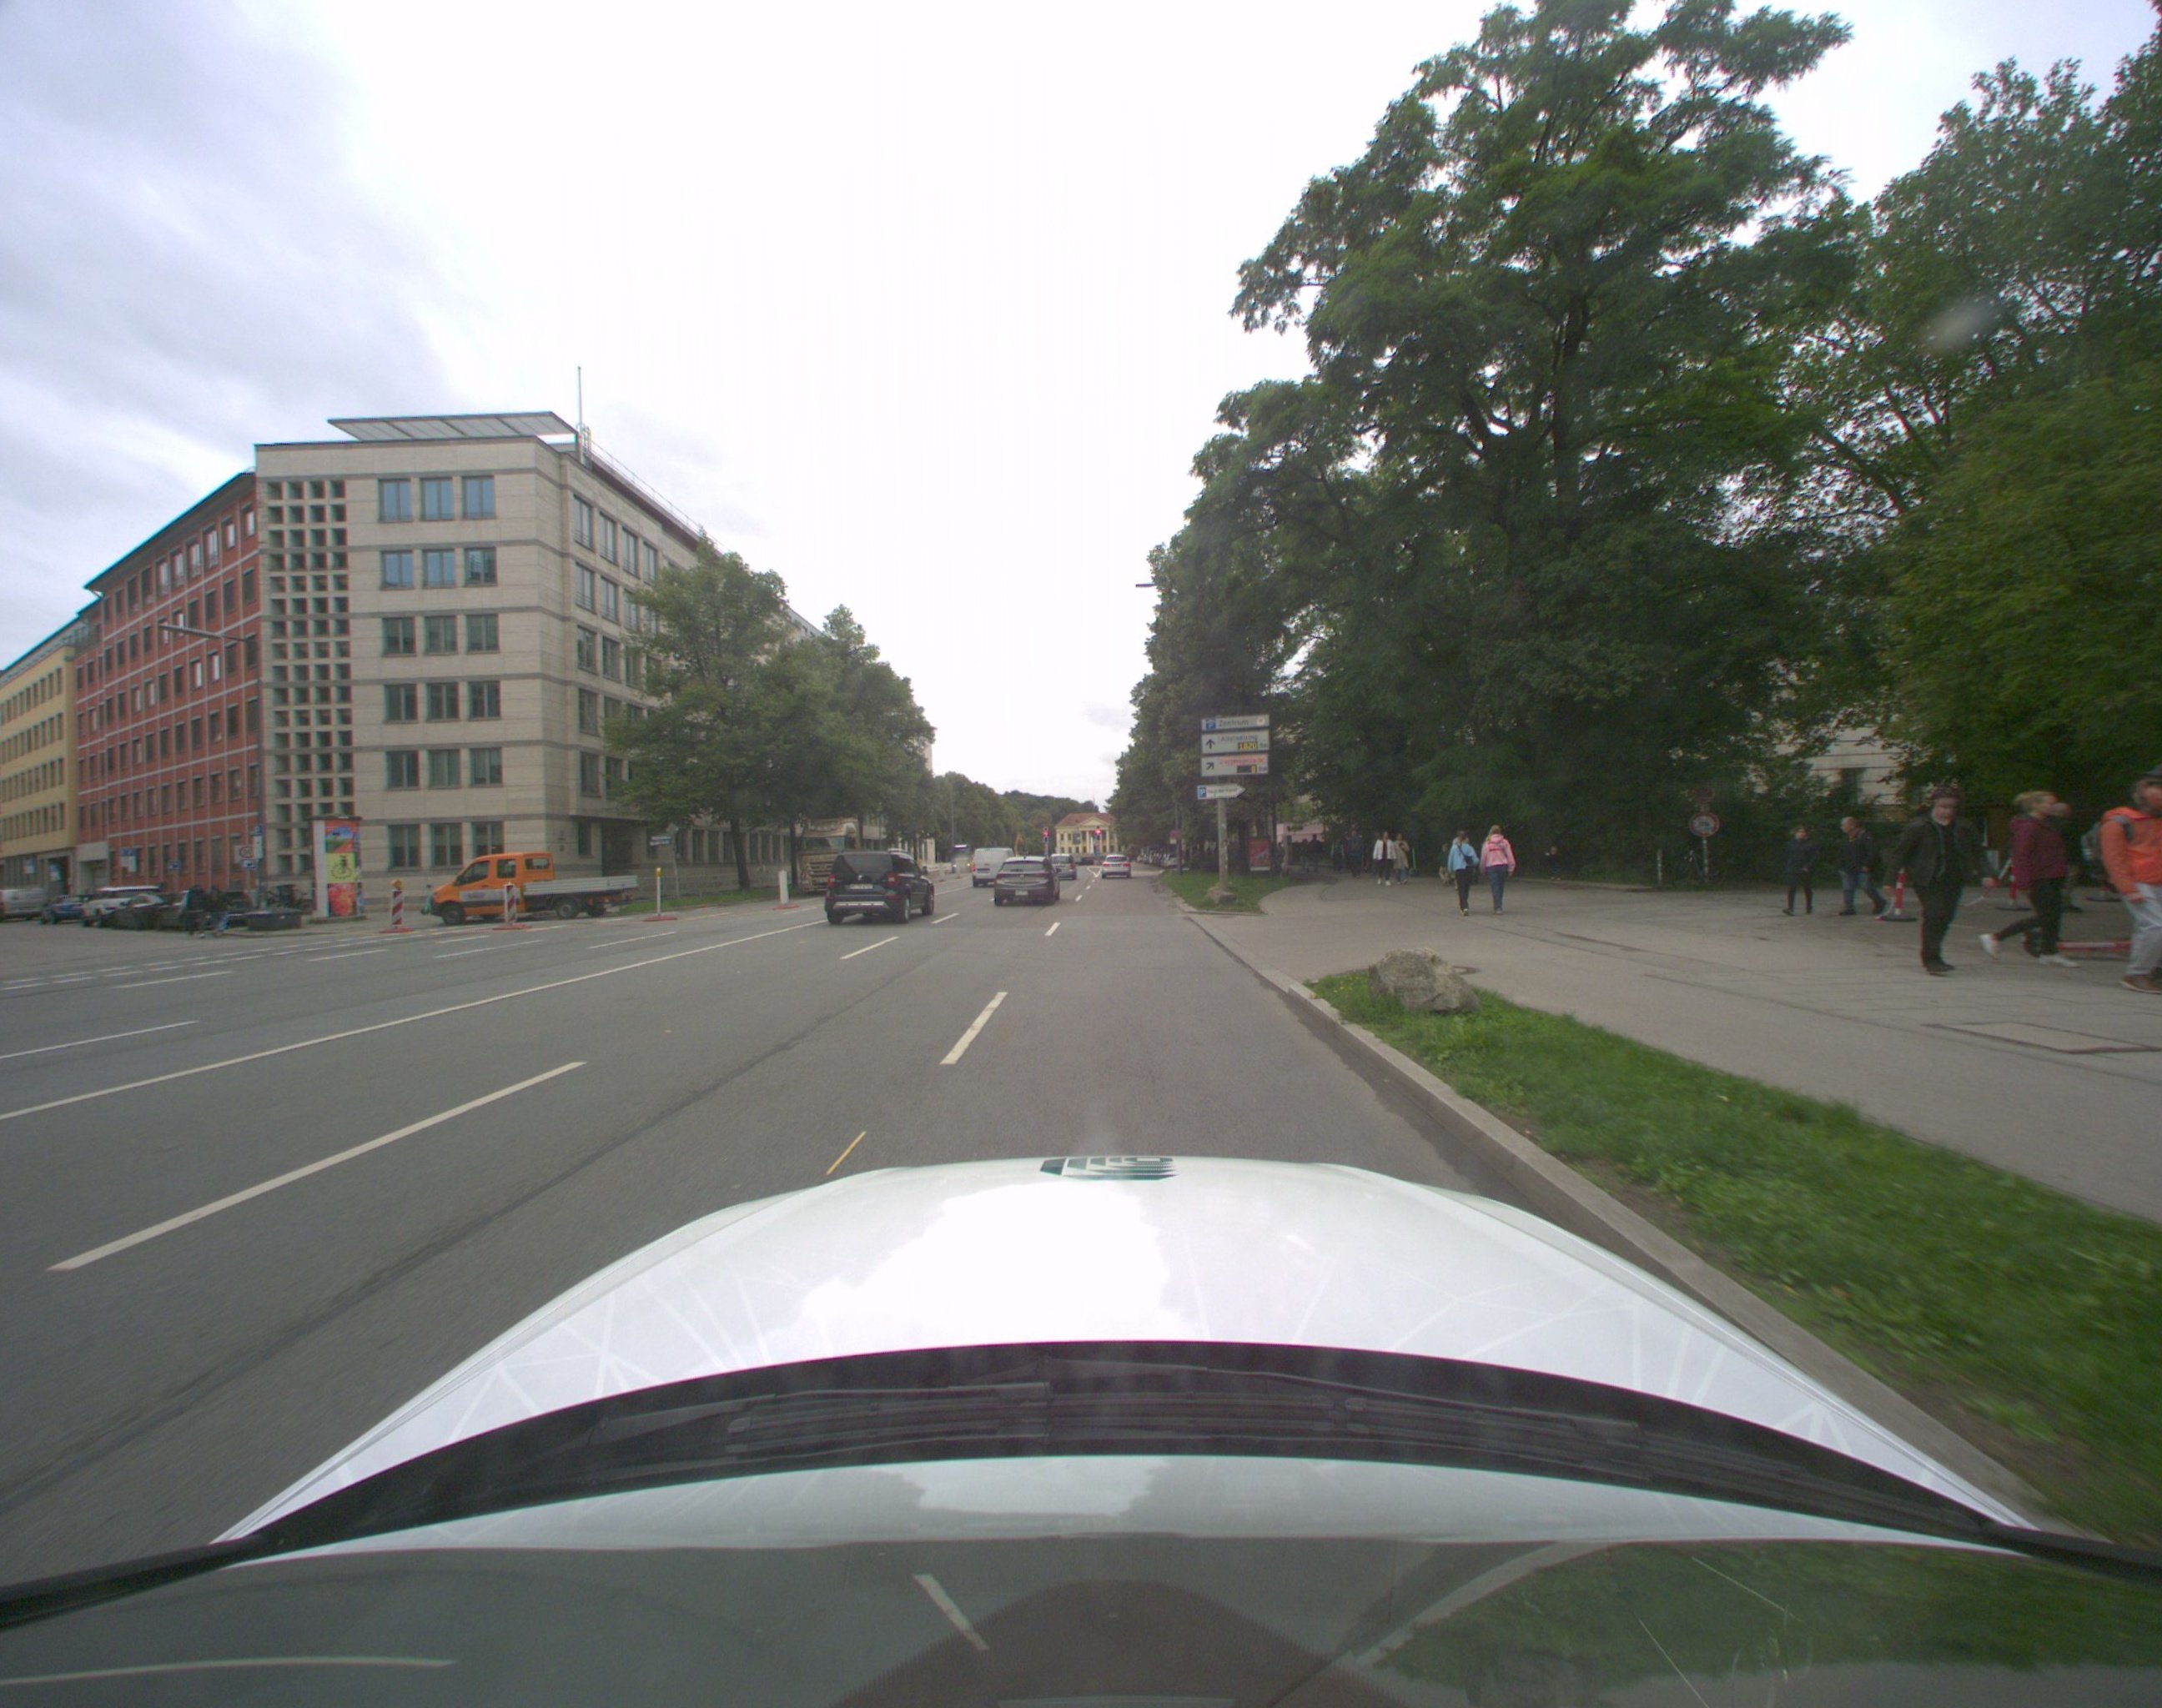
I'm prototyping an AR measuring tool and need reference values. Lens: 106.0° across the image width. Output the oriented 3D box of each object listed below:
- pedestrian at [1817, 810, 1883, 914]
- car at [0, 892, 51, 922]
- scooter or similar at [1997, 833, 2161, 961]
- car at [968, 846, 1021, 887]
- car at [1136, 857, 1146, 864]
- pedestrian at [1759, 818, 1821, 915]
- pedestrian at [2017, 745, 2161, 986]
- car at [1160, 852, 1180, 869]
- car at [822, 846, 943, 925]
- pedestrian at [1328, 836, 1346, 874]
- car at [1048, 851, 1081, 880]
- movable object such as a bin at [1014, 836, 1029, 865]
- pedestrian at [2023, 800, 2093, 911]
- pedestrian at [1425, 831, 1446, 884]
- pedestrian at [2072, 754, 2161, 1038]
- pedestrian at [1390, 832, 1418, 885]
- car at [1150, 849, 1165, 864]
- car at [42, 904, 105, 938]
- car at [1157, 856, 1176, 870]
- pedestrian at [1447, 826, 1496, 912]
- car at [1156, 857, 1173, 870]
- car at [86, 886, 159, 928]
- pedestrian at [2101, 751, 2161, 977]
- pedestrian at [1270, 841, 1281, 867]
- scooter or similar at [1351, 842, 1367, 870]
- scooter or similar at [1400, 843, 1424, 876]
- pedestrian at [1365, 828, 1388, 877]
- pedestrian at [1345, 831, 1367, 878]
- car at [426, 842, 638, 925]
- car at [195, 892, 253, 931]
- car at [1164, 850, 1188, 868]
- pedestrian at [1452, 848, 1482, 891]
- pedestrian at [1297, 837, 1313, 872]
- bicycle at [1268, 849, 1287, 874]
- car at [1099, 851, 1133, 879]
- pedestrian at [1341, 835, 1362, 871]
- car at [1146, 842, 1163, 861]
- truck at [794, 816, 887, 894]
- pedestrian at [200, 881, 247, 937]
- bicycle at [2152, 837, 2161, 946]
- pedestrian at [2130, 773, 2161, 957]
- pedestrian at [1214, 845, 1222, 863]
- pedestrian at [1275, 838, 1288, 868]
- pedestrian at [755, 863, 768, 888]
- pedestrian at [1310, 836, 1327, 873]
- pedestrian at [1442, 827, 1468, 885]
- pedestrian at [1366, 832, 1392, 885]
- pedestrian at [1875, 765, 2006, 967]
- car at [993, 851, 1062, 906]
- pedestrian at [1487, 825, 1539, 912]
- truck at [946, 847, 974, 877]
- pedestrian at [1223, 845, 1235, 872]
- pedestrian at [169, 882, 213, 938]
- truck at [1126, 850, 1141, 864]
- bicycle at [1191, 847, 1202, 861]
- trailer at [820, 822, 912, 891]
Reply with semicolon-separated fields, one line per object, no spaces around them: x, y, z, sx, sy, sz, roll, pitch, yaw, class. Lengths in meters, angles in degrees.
12.602;0.125;13.351;0.695;1.651;0.605;0;-1;-31;pedestrian
-60.692;3.055;46.729;3.143;1.591;1.499;-2;0;30;car
10.464;0.424;8.235;1.547;1.256;0.350;-1;-1;33;scooter or similar
-4.211;0.628;40.491;1.891;1.847;4.957;-2;-1;2;car
11.885;1.356;161.618;1.717;1.324;4.031;-2;-1;3;car
11.912;0.204;13.688;0.695;1.578;0.605;0;-1;-33;pedestrian
8.556;0.094;6.853;0.604;1.914;0.696;-1;-1;19;pedestrian
8.926;0.627;81.934;1.717;1.549;4.589;-2;-1;3;car
-4.635;0.706;19.637;1.716;1.636;4.206;-2;-1;2;car
11.784;0.042;37.480;0.748;1.737;0.853;-1;-1;17;pedestrian
-0.960;0.690;49.234;1.772;1.654;4.002;-1;0;2;car
-13.369;-0.742;184.490;2.689;6.511;5.179;-1;0;2;movable object such as a bin
15.479;0.026;12.908;0.695;1.696;0.605;0;-1;-33;pedestrian
10.533;0.104;24.220;0.481;1.566;0.575;-1;-1;17;pedestrian
6.804;0.247;4.950;0.722;1.691;0.649;-1;-1;7;pedestrian
10.251;0.143;25.866;0.748;1.643;0.694;-1;-1;17;pedestrian
10.130;0.301;107.829;1.717;1.867;4.031;-2;-1;3;car
-51.027;3.364;41.234;3.143;1.591;1.499;-2;0;30;car
9.301;0.967;88.727;1.717;1.464;4.779;-2;-1;3;car
7.715;0.285;16.115;0.748;1.643;0.853;-1;-1;17;pedestrian
9.643;1.070;94.302;1.815;1.464;4.031;-2;-1;3;car
-42.130;2.319;35.795;3.143;1.664;1.499;-2;0;30;car
9.332;0.080;6.870;0.604;1.873;0.696;-1;-1;19;pedestrian
12.653;-0.019;52.925;0.577;1.675;0.554;-1;-1;6;pedestrian
12.678;0.085;37.129;0.301;1.224;0.932;-2;-1;41;scooter or similar
12.258;0.203;30.197;0.416;1.199;1.220;-1;0;3;scooter or similar
11.136;-0.060;30.737;0.585;1.822;0.850;-1;-1;3;pedestrian
10.325;0.037;30.632;0.748;1.737;0.853;-1;-1;17;pedestrian
-18.720;0.979;27.997;5.666;2.536;2.155;-2;0;-2;car
-33.031;2.179;31.396;3.198;1.375;1.480;-3;-1;43;car
8.909;0.483;76.618;1.820;1.549;4.755;-2;-1;3;car
10.364;0.401;21.879;0.626;1.137;0.575;-1;-1;17;pedestrian
10.847;0.018;39.461;0.604;1.681;0.755;-1;-1;6;pedestrian
8.420;0.320;34.920;0.383;1.021;2.080;-1;0;3;bicycle
2.144;0.660;50.693;1.775;1.644;3.996;-1;0;-3;car
12.562;-0.047;37.852;0.681;1.637;0.661;-1;-1;-9;pedestrian
10.336;-0.309;114.764;1.986;2.643;4.878;-1;0;1;car
-12.675;0.082;43.697;2.908;3.775;7.660;-1;0;-2;truck
-27.860;1.775;26.476;0.678;1.775;0.785;-1;-1;6;pedestrian
13.024;0.420;9.452;1.602;1.239;0.388;0;-1;-26;bicycle
11.377;0.109;8.395;0.695;1.873;0.605;0;-1;-33;pedestrian
14.636;0.003;87.228;0.760;1.910;0.771;-1;-1;3;pedestrian
12.262;-0.052;49.821;0.627;1.774;0.783;-1;-1;6;pedestrian
-22.346;1.516;57.039;0.576;1.732;0.764;-1;-1;3;pedestrian
11.447;0.010;39.276;0.604;1.763;0.798;-1;-1;6;pedestrian
10.911;0.049;23.770;0.626;1.667;0.575;-1;-1;17;pedestrian
9.474;0.152;25.923;0.748;1.643;0.653;-1;-1;17;pedestrian
8.385;0.111;7.978;0.604;1.873;0.696;-1;-1;19;pedestrian
-1.582;0.711;25.354;1.703;1.552;4.003;-1;0;3;car
8.424;0.276;15.909;0.748;1.643;0.853;-1;-1;17;pedestrian
-14.148;0.938;95.911;2.837;3.357;8.745;-1;0;-6;truck
10.674;0.323;58.672;0.775;1.910;0.771;-1;-1;3;pedestrian
-28.597;1.790;26.187;0.678;1.775;0.675;-1;-1;6;pedestrian
12.822;0.812;199.169;3.312;3.367;8.667;-1;0;2;truck
10.614;0.011;74.974;0.626;1.231;2.618;-1;0;1;bicycle
-12.880;0.148;50.128;2.942;3.740;11.760;-1;0;-2;trailer
